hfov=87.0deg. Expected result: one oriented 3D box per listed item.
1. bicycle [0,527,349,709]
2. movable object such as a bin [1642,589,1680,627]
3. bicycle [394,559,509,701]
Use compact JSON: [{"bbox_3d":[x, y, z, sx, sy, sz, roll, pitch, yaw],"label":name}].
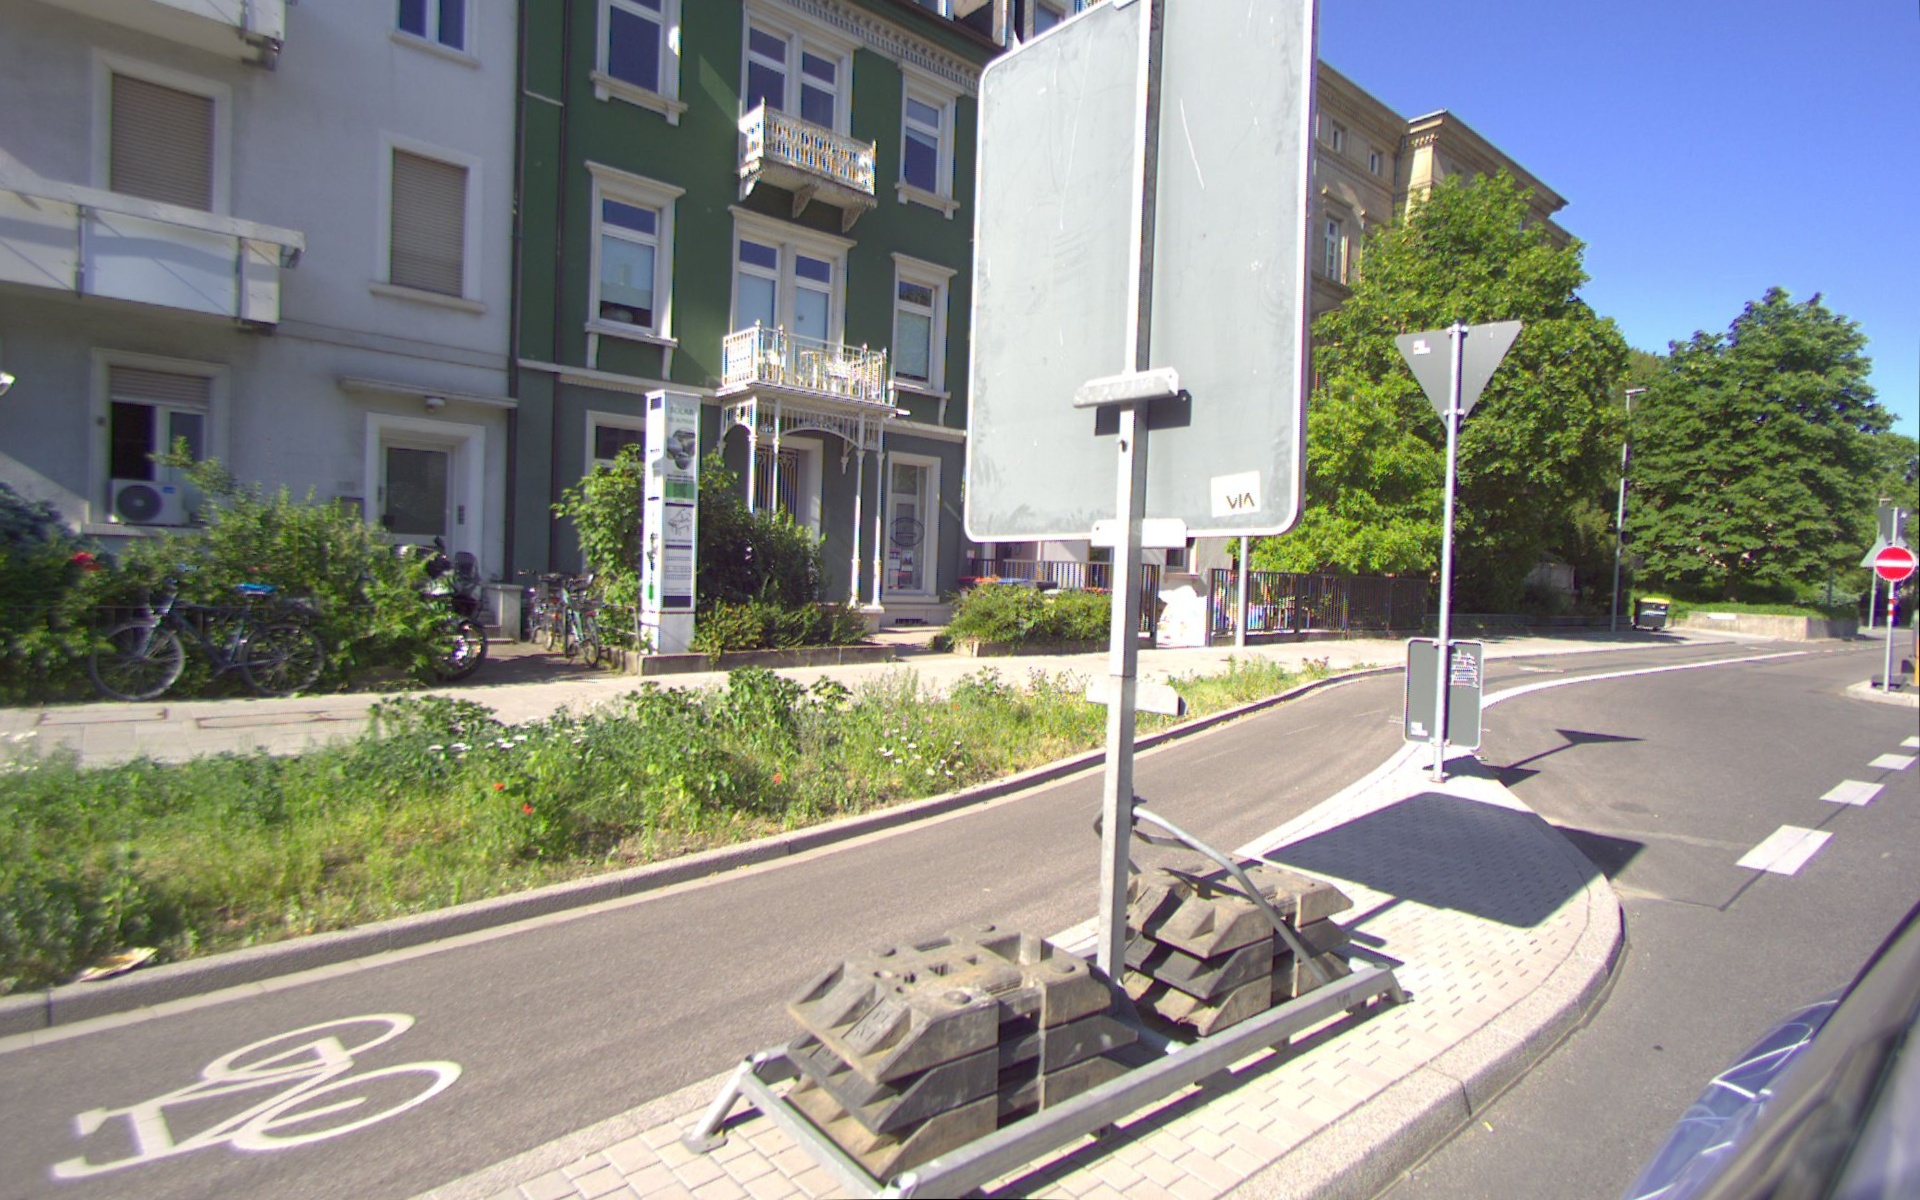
[{"bbox_3d":[-7.067,0.164,9.226,2.448,1.462,0.709,2,-1,-42],"label":"bicycle"},{"bbox_3d":[27.724,0.315,40.032,0.964,1.415,1.276,5,2,27],"label":"movable object such as a bin"},{"bbox_3d":[-6.010,0.293,11.890,0.627,1.503,2.259,1,1,-41],"label":"bicycle"}]
